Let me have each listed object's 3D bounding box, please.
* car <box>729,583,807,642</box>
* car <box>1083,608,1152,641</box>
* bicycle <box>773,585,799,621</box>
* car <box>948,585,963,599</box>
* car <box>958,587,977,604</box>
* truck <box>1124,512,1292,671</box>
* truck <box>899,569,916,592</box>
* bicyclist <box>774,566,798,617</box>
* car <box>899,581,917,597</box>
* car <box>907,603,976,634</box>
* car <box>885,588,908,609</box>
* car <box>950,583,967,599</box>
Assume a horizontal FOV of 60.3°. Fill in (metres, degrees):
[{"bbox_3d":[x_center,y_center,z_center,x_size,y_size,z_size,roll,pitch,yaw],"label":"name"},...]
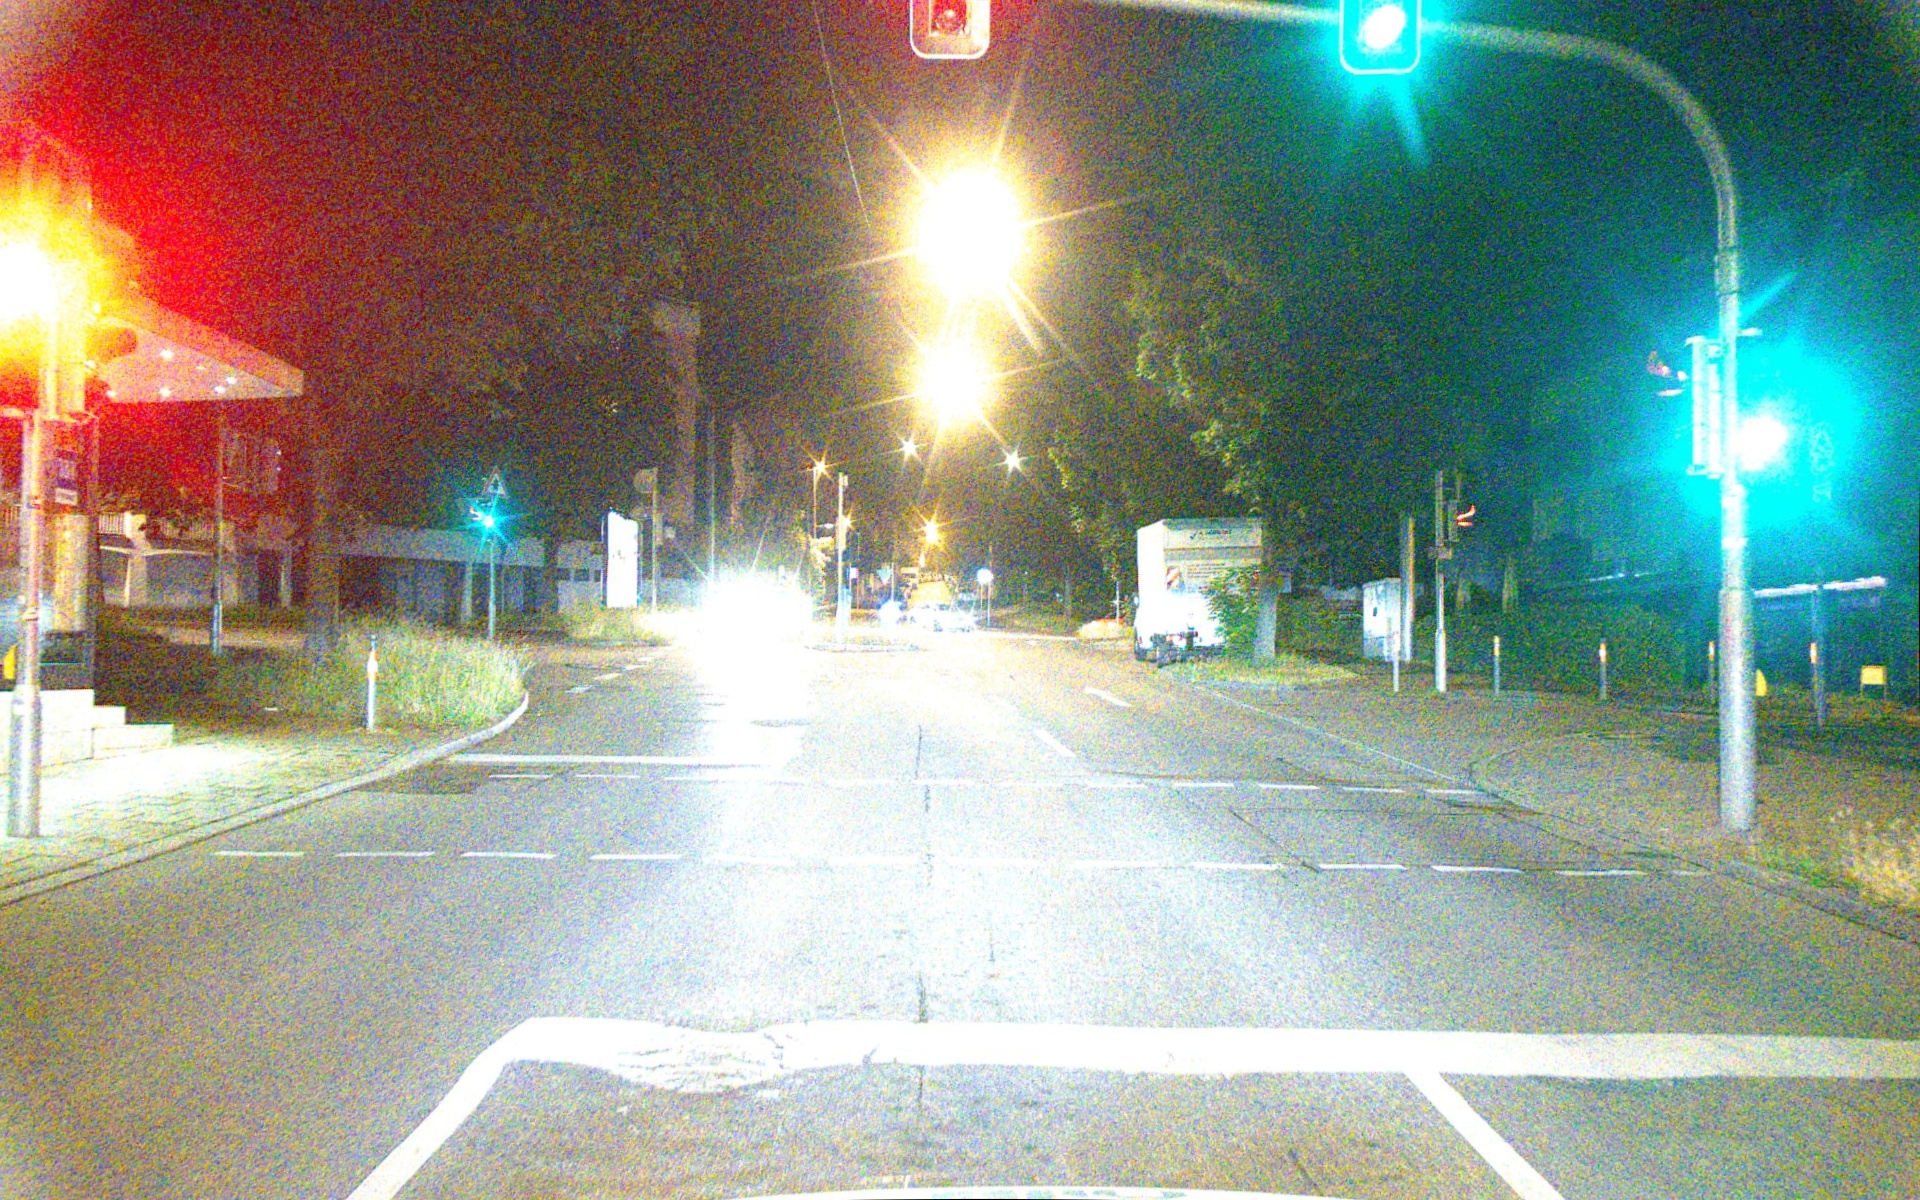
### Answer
[{"bbox_3d":[-5.431,0.331,47.226,1.819,1.561,4.027,1,0,-1],"label":"car"},{"bbox_3d":[7.678,1.191,80.383,1.560,1.528,3.371,1,0,45],"label":"car"},{"bbox_3d":[-5.793,0.097,55.044,0.682,1.169,1.950,1,0,-1],"label":"bicycle"},{"bbox_3d":[-0.529,-0.854,180.443,1.601,1.477,3.484,1,0,-1],"label":"car"},{"bbox_3d":[0.660,-0.386,145.301,1.601,1.477,3.484,1,0,-1],"label":"car"},{"bbox_3d":[5.318,-0.192,36.519,2.693,3.165,6.258,1,0,0],"label":"truck"},{"bbox_3d":[-6.739,-2.510,211.423,2.045,2.897,5.828,1,0,-3],"label":"truck"},{"bbox_3d":[-5.785,-0.268,55.064,0.676,1.666,0.896,1,0,-1],"label":"bicyclist"},{"bbox_3d":[-5.120,-1.055,162.421,1.779,1.517,3.998,1,0,-3],"label":"car"},{"bbox_3d":[-0.972,0.919,83.683,1.891,1.413,4.549,1,0,-23],"label":"car"},{"bbox_3d":[-5.203,-0.130,136.332,1.778,1.713,3.999,1,0,-1],"label":"car"},{"bbox_3d":[-0.130,-0.849,161.207,1.601,1.477,3.484,1,0,-1],"label":"car"}]
